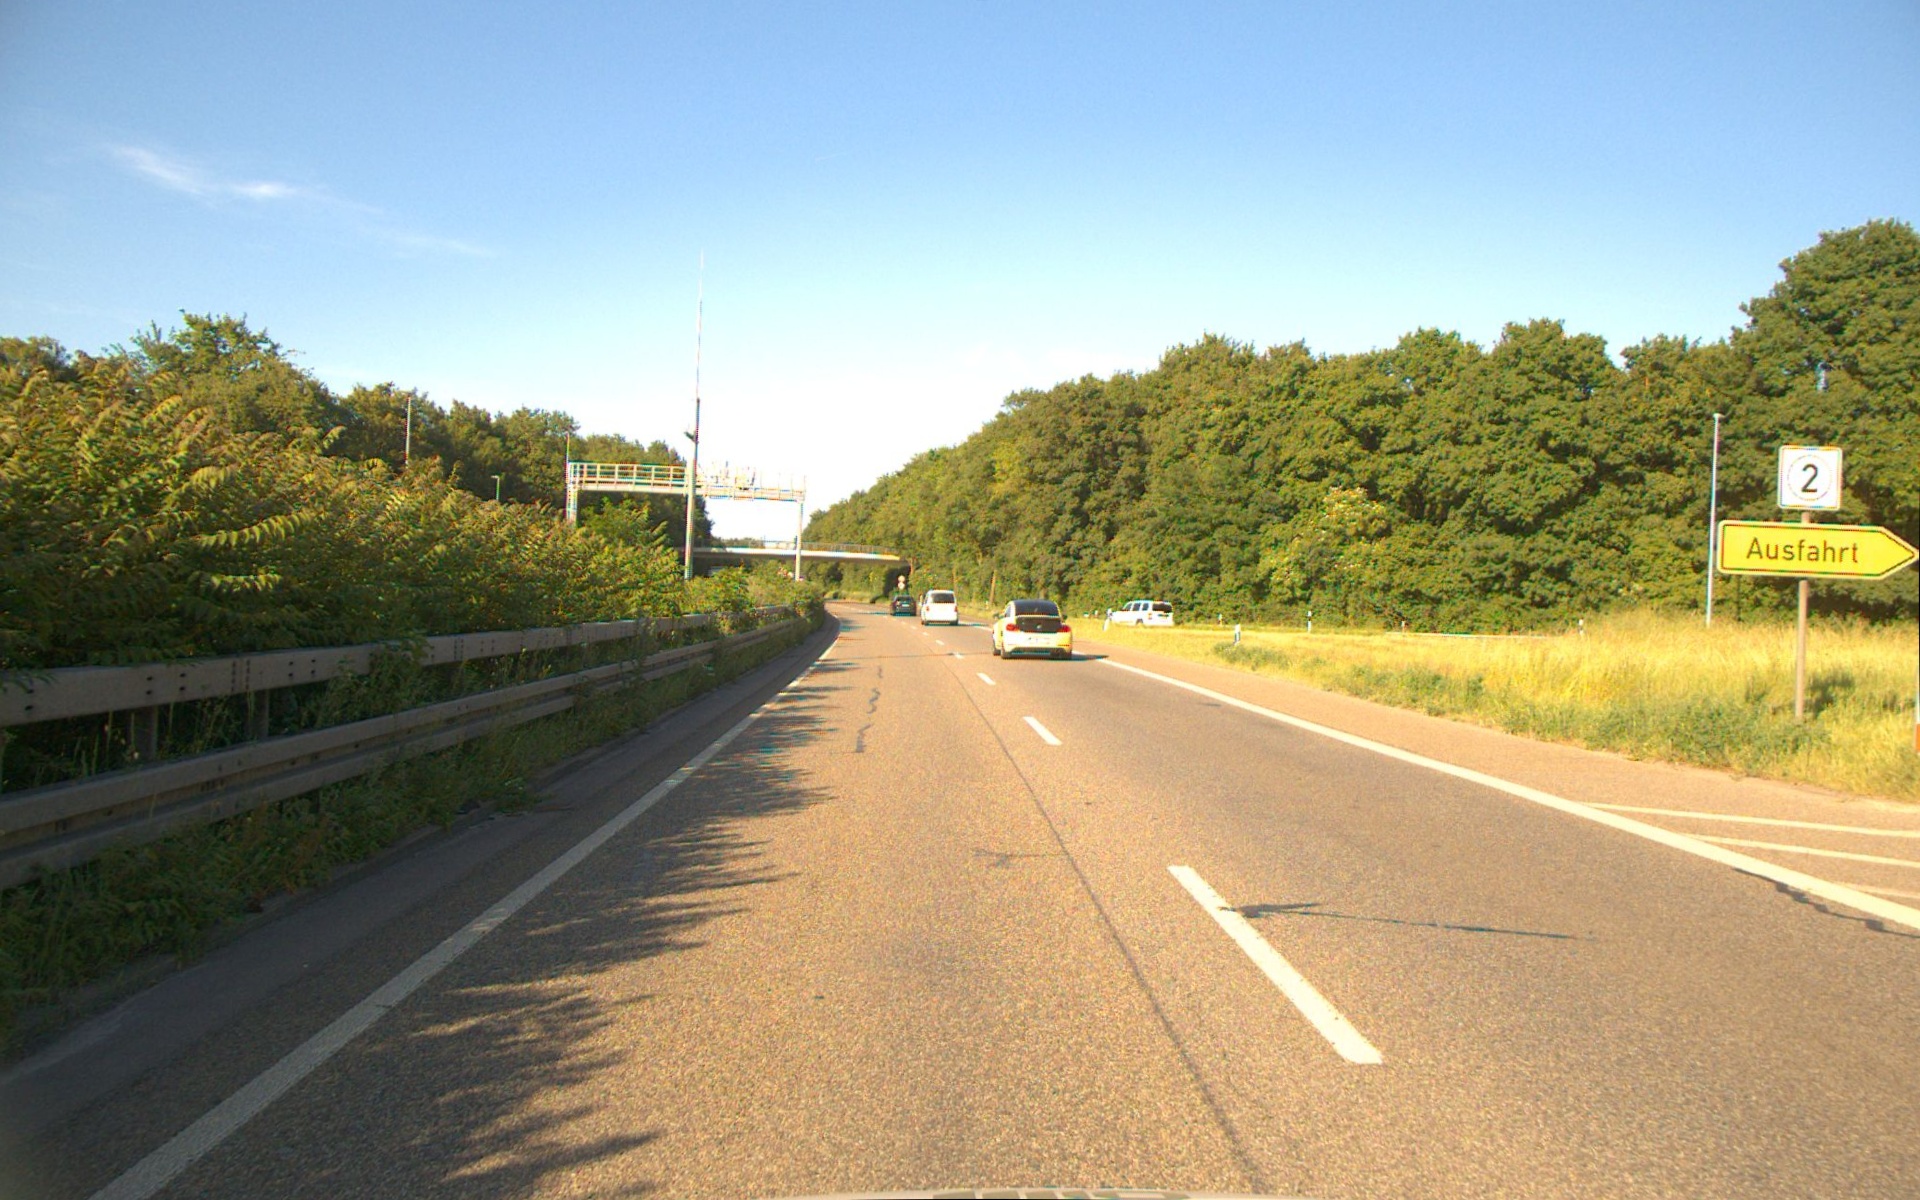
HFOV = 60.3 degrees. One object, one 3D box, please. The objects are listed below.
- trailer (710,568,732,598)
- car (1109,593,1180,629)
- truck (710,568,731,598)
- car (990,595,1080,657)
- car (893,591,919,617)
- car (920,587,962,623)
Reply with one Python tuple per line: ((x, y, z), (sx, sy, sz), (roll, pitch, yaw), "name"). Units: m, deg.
((-34.917, -2.435, 242.022), (2.686, 4.097, 14.053), (2, 0, -7), "trailer")
((9.875, 0.580, 88.930), (1.876, 1.856, 3.961), (1, 0, -29), "car")
((-34.085, -2.392, 235.264), (2.686, 4.097, 6.170), (2, 0, -7), "truck")
((1.870, 0.634, 42.329), (1.859, 1.496, 3.997), (1, 0, -4), "car")
((-3.967, 0.288, 120.431), (1.859, 1.798, 3.998), (1, 0, -2), "car")
((-1.010, 0.280, 85.877), (1.860, 1.798, 3.996), (2, -1, -5), "car")
